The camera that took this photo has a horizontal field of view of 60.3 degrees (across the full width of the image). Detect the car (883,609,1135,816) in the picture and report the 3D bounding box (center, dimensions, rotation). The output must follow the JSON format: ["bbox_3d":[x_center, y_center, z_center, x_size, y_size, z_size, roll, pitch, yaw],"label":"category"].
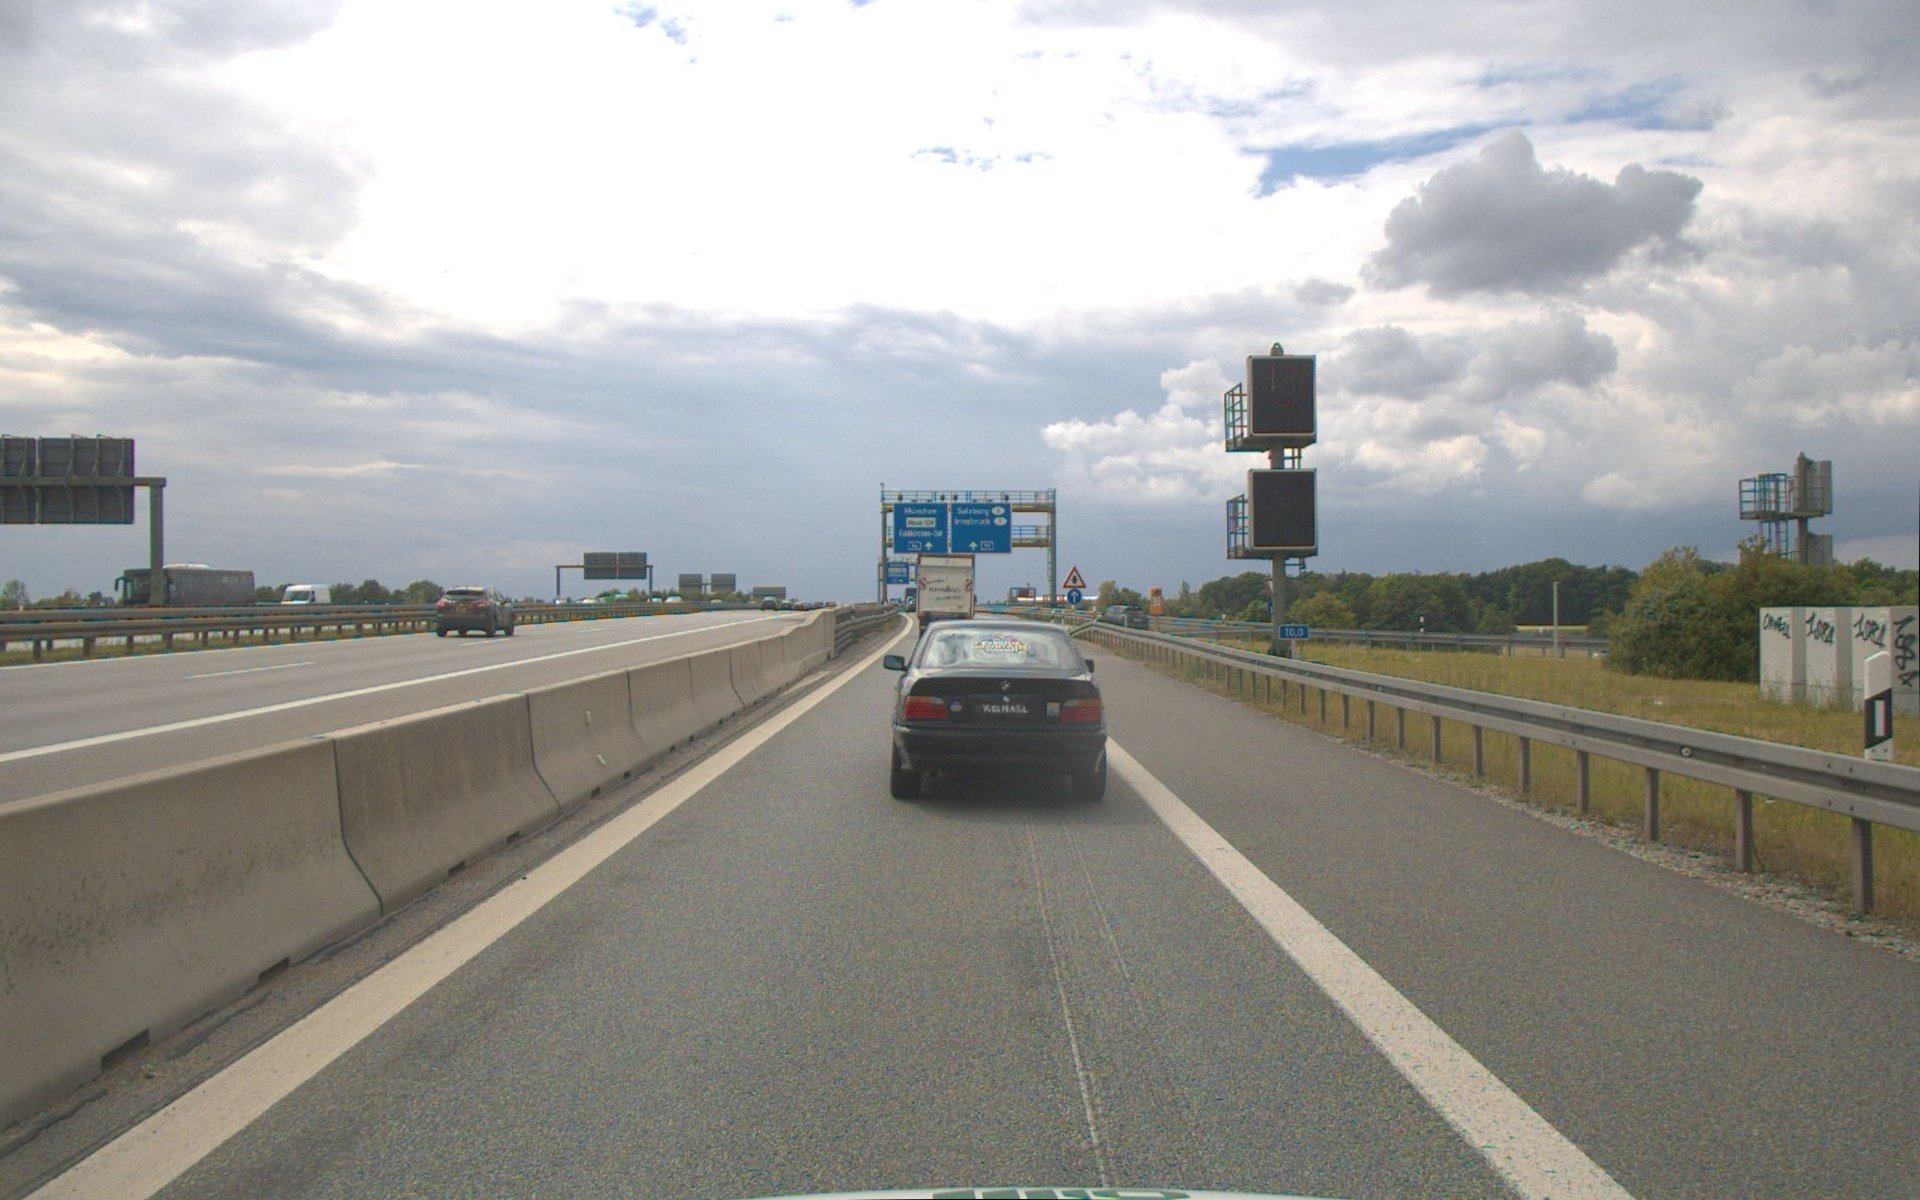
[{"bbox_3d":[0.354,0.798,13.658,1.746,1.402,4.137,1,0,0],"label":"car"}]

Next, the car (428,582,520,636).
[{"bbox_3d":[-15.664,0.280,53.519,1.855,1.625,4.415,1,0,-3],"label":"car"}]

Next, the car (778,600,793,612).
[{"bbox_3d":[-25.532,0.874,242.224,1.954,1.568,3.997,1,0,-4],"label":"car"}]

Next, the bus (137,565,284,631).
[{"bbox_3d":[-42.770,-0.097,95.054,3.150,3.503,12.983,1,0,-3],"label":"bus"}]

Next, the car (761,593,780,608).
[{"bbox_3d":[-22.819,0.074,199.282,1.954,1.691,4.380,1,0,-4],"label":"car"}]

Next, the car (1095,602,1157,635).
[{"bbox_3d":[8.363,0.930,83.598,1.959,1.579,3.988,1,0,-12],"label":"car"}]

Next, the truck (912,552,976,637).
[{"bbox_3d":[-0.676,-0.211,64.705,2.355,3.144,6.368,1,0,-2],"label":"truck"}]

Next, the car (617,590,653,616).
[{"bbox_3d":[-22.159,0.175,112.870,1.633,1.736,4.000,1,0,0],"label":"car"}]
